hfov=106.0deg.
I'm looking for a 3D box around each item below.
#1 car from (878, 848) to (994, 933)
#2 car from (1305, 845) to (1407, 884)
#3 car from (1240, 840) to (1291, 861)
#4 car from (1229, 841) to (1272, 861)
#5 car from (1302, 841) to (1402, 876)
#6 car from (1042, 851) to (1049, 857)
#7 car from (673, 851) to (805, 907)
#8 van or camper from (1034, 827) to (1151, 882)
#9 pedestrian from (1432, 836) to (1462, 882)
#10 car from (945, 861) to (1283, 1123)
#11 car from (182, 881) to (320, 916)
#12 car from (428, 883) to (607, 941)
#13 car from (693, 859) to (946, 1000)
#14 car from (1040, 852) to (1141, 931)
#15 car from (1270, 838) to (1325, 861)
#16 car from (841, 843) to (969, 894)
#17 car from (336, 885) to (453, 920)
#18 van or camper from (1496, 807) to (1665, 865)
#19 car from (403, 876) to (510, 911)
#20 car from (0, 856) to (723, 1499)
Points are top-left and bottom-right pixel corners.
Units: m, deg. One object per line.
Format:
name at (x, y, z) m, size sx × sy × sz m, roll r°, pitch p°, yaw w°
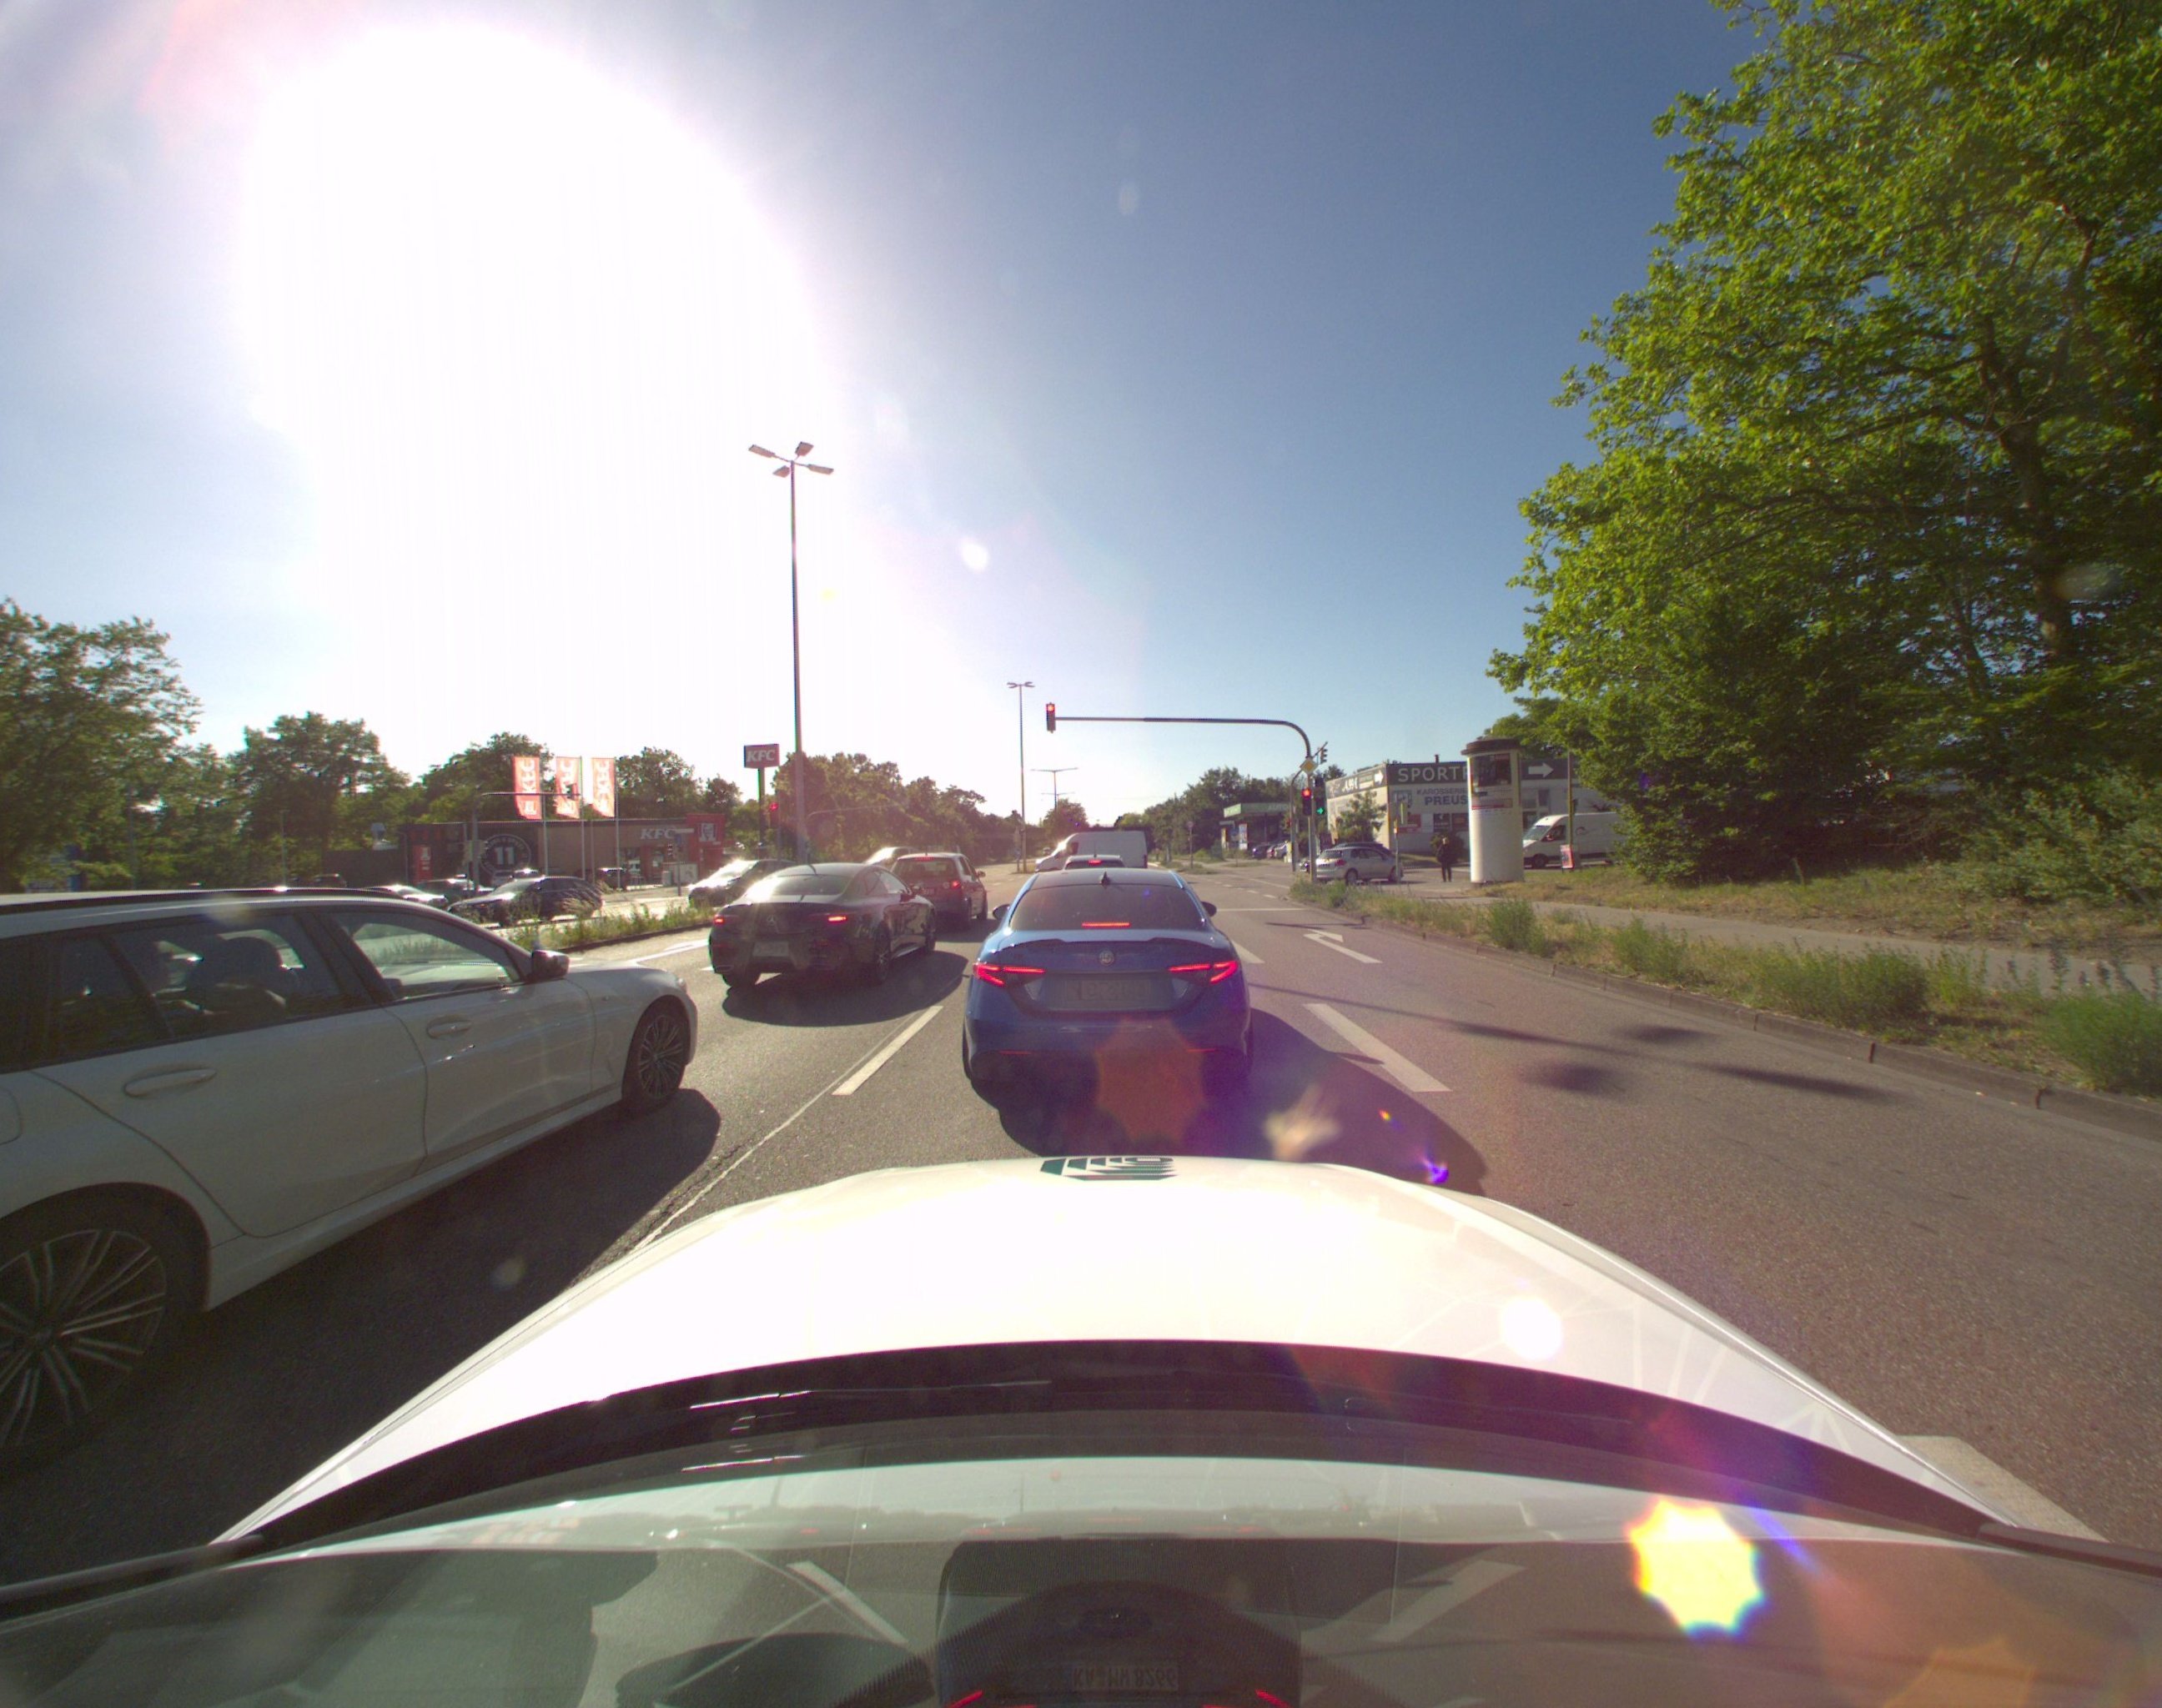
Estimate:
car at (-3.006, 0.699, 17.650) m, size 1.642 × 1.598 × 3.933 m, roll -2°, pitch 0°, yaw 2°
car at (11.232, 0.387, 33.215) m, size 4.003 × 1.477 × 1.724 m, roll -1°, pitch 0°, yaw -31°
car at (16.039, -0.294, 70.771) m, size 3.997 × 1.706 × 1.685 m, roll -1°, pitch 0°, yaw -18°
car at (15.382, -0.258, 73.980) m, size 3.489 × 1.706 × 1.687 m, roll -2°, pitch 0°, yaw -14°
car at (14.064, 0.220, 42.441) m, size 4.583 × 1.653 × 2.000 m, roll -1°, pitch 0°, yaw 0°
car at (-10.363, 0.084, 237.707) m, size 1.817 × 1.694 × 3.835 m, roll -1°, pitch 0°, yaw -1°
car at (-11.323, 0.777, 27.314) m, size 1.867 × 1.690 × 4.450 m, roll -2°, pitch 0°, yaw 11°
van or camper at (0.544, 0.010, 42.311) m, size 5.926 × 2.651 × 1.997 m, roll -1°, pitch 0°, yaw -5°
pedestrian at (14.177, 0.180, 31.567) m, size 0.818 × 1.721 × 0.856 m, roll -2°, pitch 0°, yaw 9°
car at (0.243, 0.786, 6.495) m, size 1.859 × 1.385 × 3.933 m, roll -1°, pitch 0°, yaw 2°
car at (-39.246, 2.092, 38.584) m, size 4.701 × 1.429 × 1.865 m, roll -1°, pitch 1°, yaw 2°
car at (-17.564, 1.771, 25.719) m, size 1.892 × 1.446 × 4.621 m, roll -2°, pitch 0°, yaw 10°
car at (-3.138, 0.813, 10.843) m, size 1.762 × 1.414 × 4.463 m, roll -2°, pitch 0°, yaw 2°
car at (0.235, 0.701, 17.206) m, size 1.859 × 1.450 × 3.933 m, roll -1°, pitch 0°, yaw 2°
car at (17.510, -0.364, 65.877) m, size 3.993 × 1.706 × 1.687 m, roll -2°, pitch 0°, yaw -15°
car at (-7.533, 0.574, 35.178) m, size 5.051 × 2.013 × 1.977 m, roll -2°, pitch 0°, yaw -39°
car at (-32.124, 2.244, 38.176) m, size 4.019 × 1.429 × 1.826 m, roll -2°, pitch 0°, yaw 3°
van or camper at (23.906, -0.855, 39.168) m, size 6.706 × 2.572 × 2.186 m, roll -1°, pitch 0°, yaw 2°
car at (-31.920, 1.994, 41.699) m, size 4.025 × 1.595 × 1.824 m, roll -2°, pitch 0°, yaw -1°
car at (-3.425, 0.798, 3.370) m, size 1.762 × 1.509 × 4.463 m, roll -2°, pitch 0°, yaw 2°
